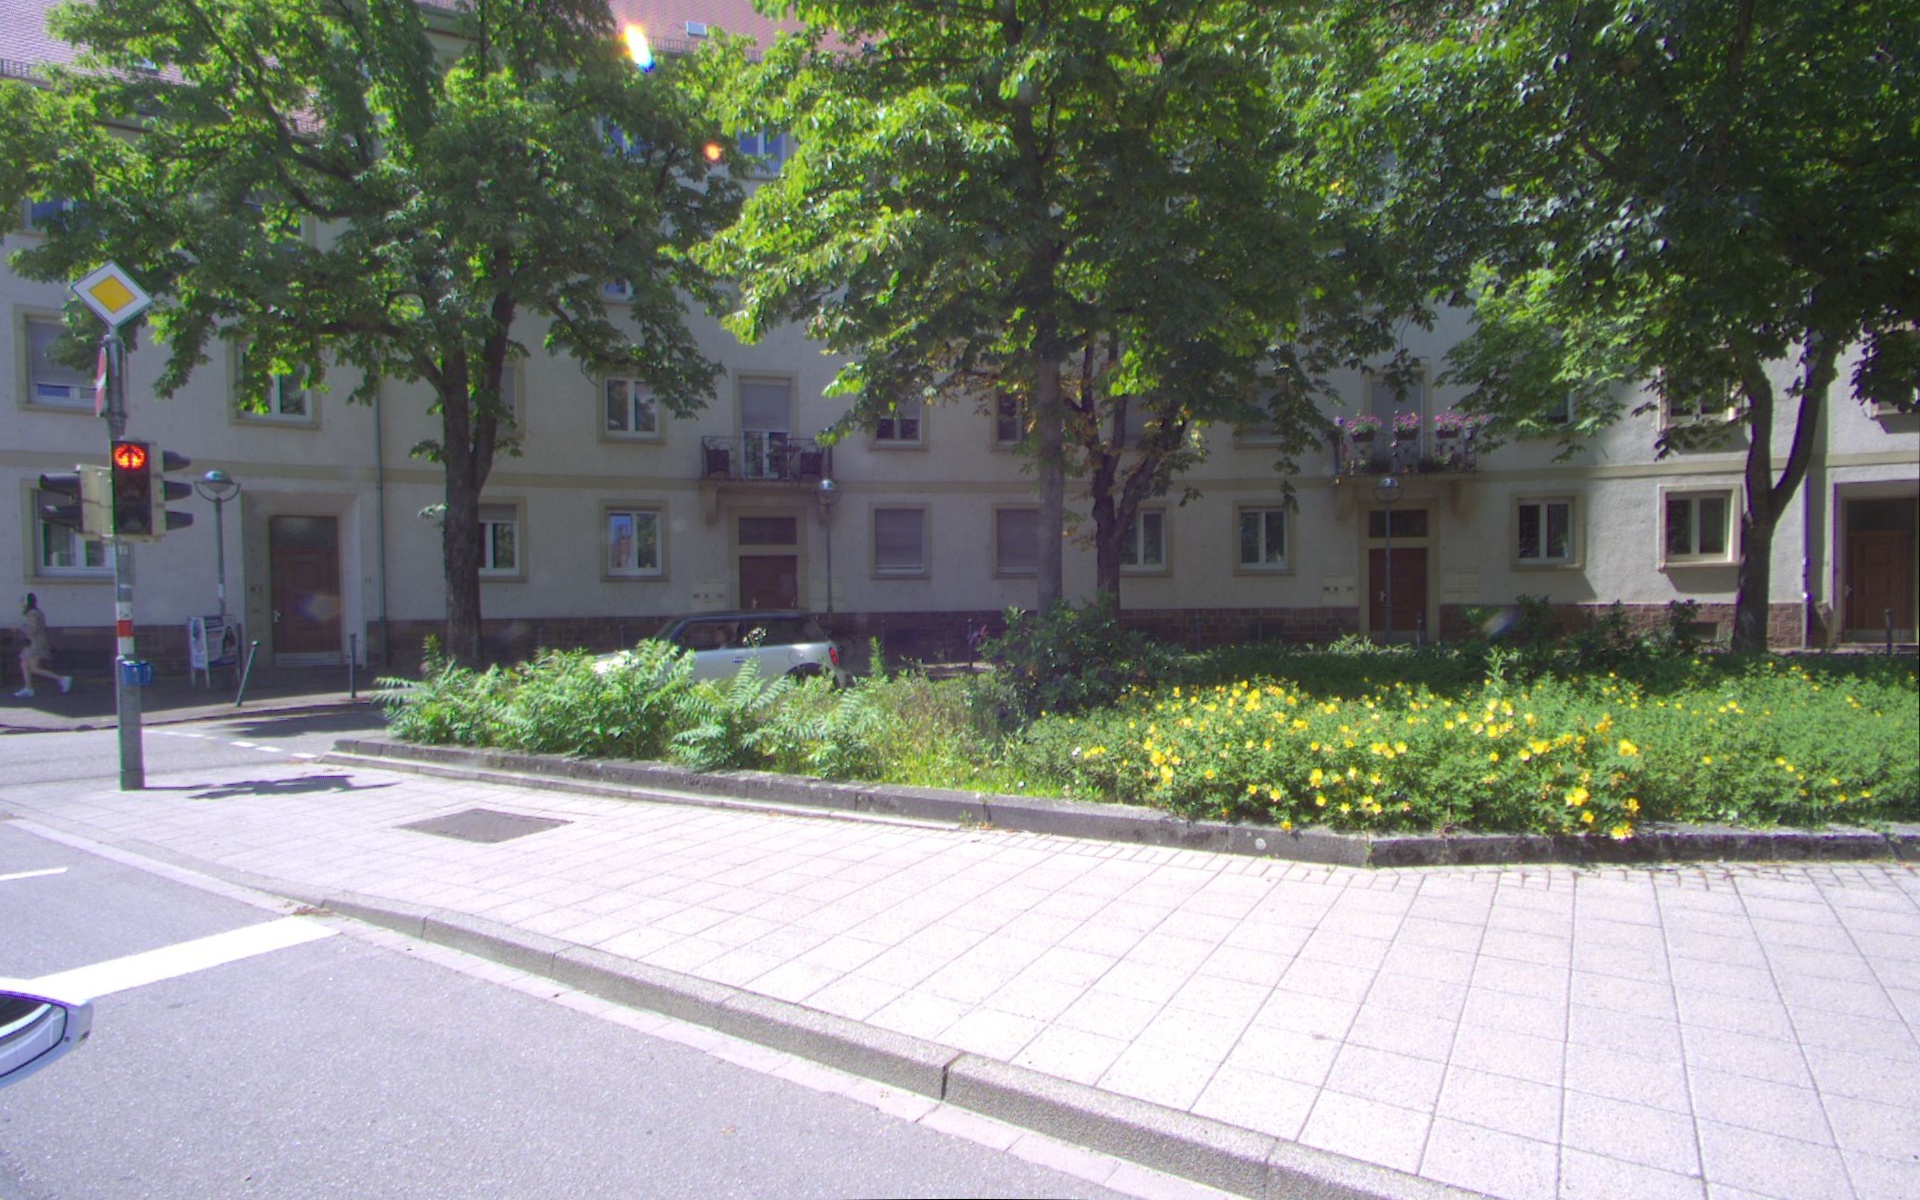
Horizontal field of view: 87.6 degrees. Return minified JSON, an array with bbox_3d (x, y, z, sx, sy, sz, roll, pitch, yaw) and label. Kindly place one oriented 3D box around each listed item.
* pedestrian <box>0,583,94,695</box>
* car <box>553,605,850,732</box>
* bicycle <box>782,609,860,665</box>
[{"bbox_3d":[-15.172,0.622,16.620,1.044,1.715,0.647,-6,8,-38],"label":"pedestrian"},{"bbox_3d":[-3.351,0.841,13.299,3.585,1.526,1.703,0,0,-14],"label":"car"},{"bbox_3d":[-2.882,0.760,20.869,1.575,1.119,0.525,-1,1,-4],"label":"bicycle"}]
